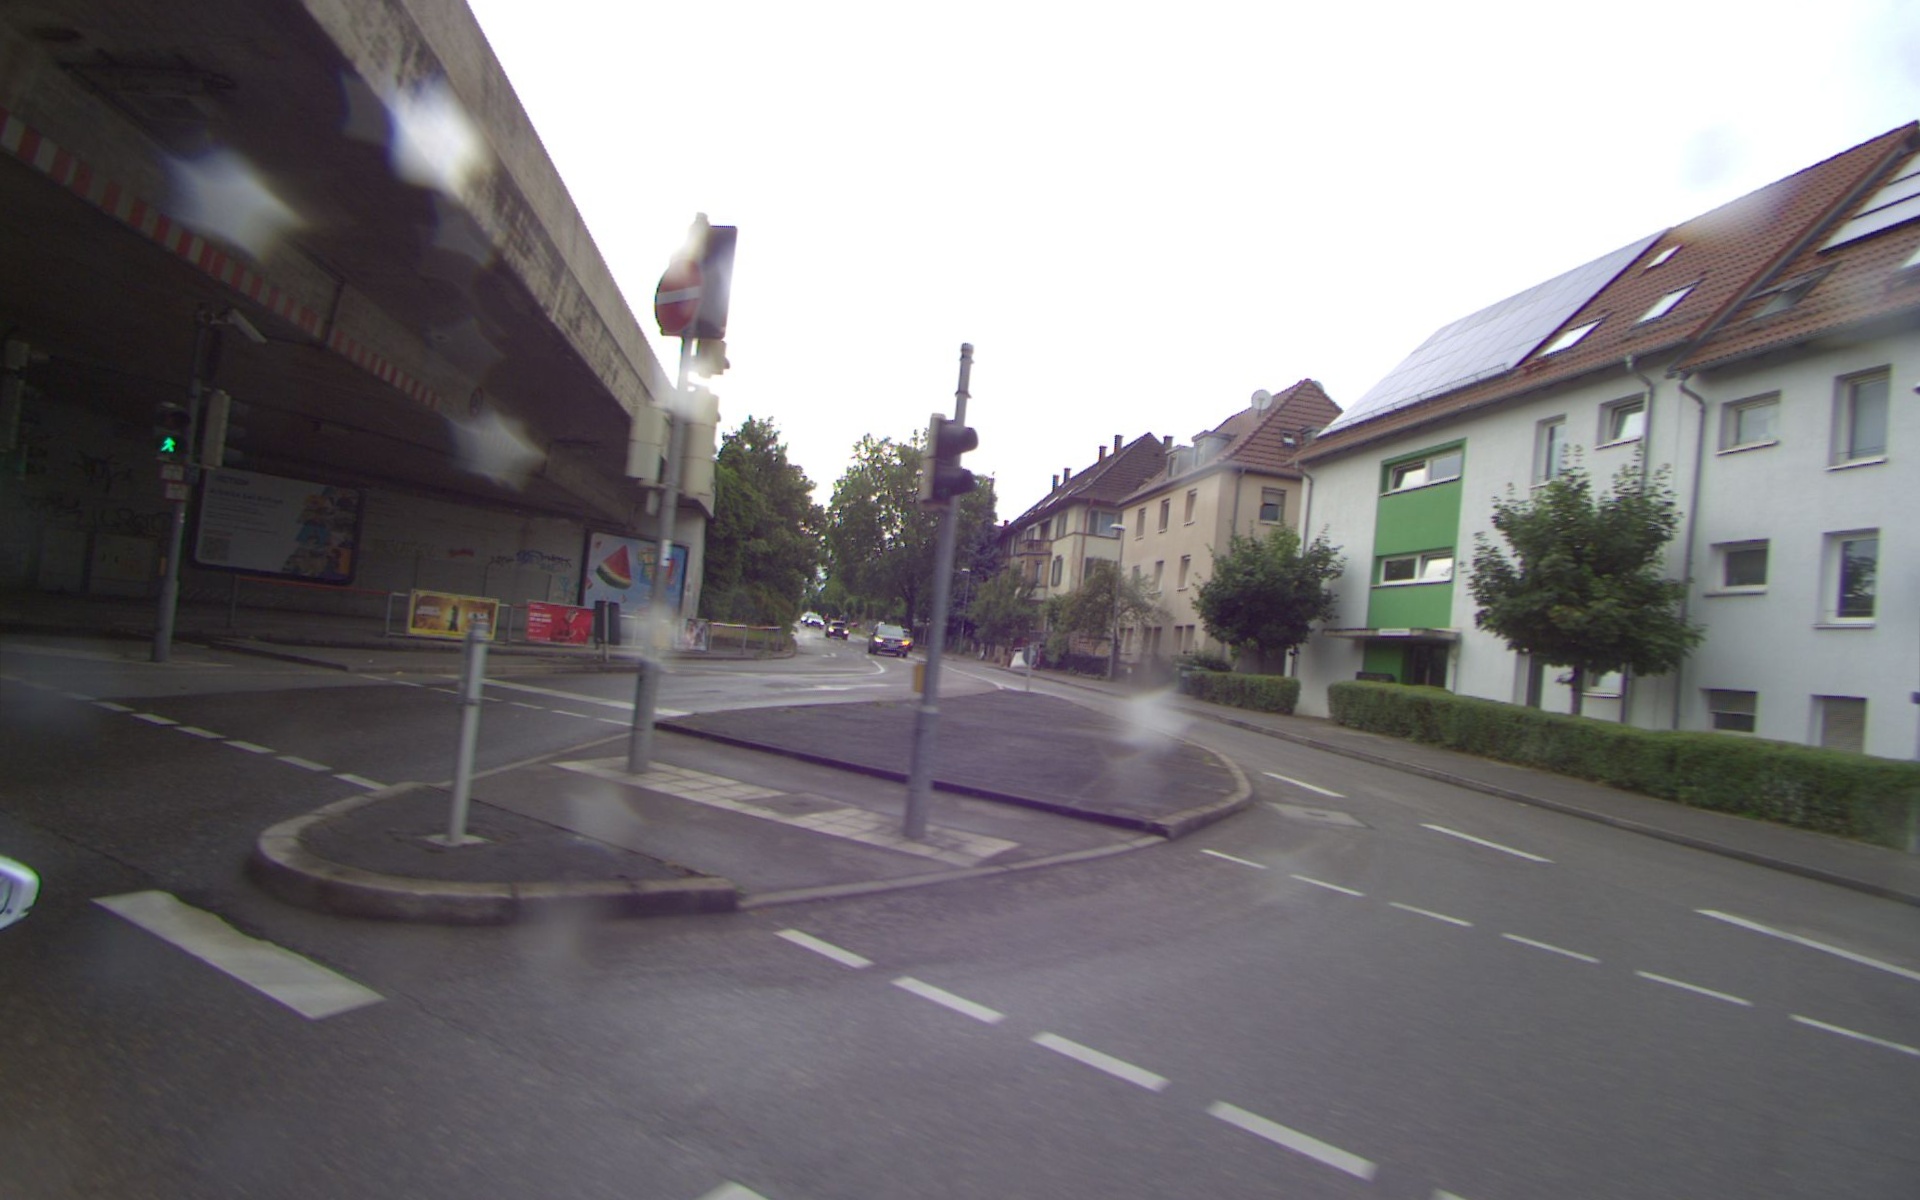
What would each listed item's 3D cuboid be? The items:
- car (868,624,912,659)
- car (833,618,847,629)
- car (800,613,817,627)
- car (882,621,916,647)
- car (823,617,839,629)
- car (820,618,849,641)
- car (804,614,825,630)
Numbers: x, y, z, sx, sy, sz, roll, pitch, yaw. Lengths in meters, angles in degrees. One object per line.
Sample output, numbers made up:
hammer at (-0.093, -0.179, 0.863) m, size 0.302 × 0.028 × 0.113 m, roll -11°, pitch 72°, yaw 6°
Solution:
car at (-3.503, 2.097, 51.084) m, size 1.736 × 1.598 × 4.237 m, roll 5°, pitch -2°, yaw 1°
car at (-20.847, 4.079, 174.931) m, size 1.852 × 1.548 × 3.990 m, roll 8°, pitch -1°, yaw -13°
car at (-20.646, 2.672, 137.135) m, size 1.852 × 1.548 × 3.990 m, roll 8°, pitch -1°, yaw -13°
car at (-4.510, 2.473, 74.051) m, size 1.851 × 1.547 × 3.993 m, roll 9°, pitch -2°, yaw -11°
car at (-19.568, 3.469, 152.109) m, size 1.852 × 1.548 × 3.990 m, roll 8°, pitch -1°, yaw -13°
car at (-10.899, 2.531, 87.255) m, size 1.852 × 1.548 × 3.990 m, roll 8°, pitch -1°, yaw -13°
car at (-16.826, 2.540, 115.869) m, size 1.852 × 1.548 × 3.990 m, roll 8°, pitch -1°, yaw -13°
